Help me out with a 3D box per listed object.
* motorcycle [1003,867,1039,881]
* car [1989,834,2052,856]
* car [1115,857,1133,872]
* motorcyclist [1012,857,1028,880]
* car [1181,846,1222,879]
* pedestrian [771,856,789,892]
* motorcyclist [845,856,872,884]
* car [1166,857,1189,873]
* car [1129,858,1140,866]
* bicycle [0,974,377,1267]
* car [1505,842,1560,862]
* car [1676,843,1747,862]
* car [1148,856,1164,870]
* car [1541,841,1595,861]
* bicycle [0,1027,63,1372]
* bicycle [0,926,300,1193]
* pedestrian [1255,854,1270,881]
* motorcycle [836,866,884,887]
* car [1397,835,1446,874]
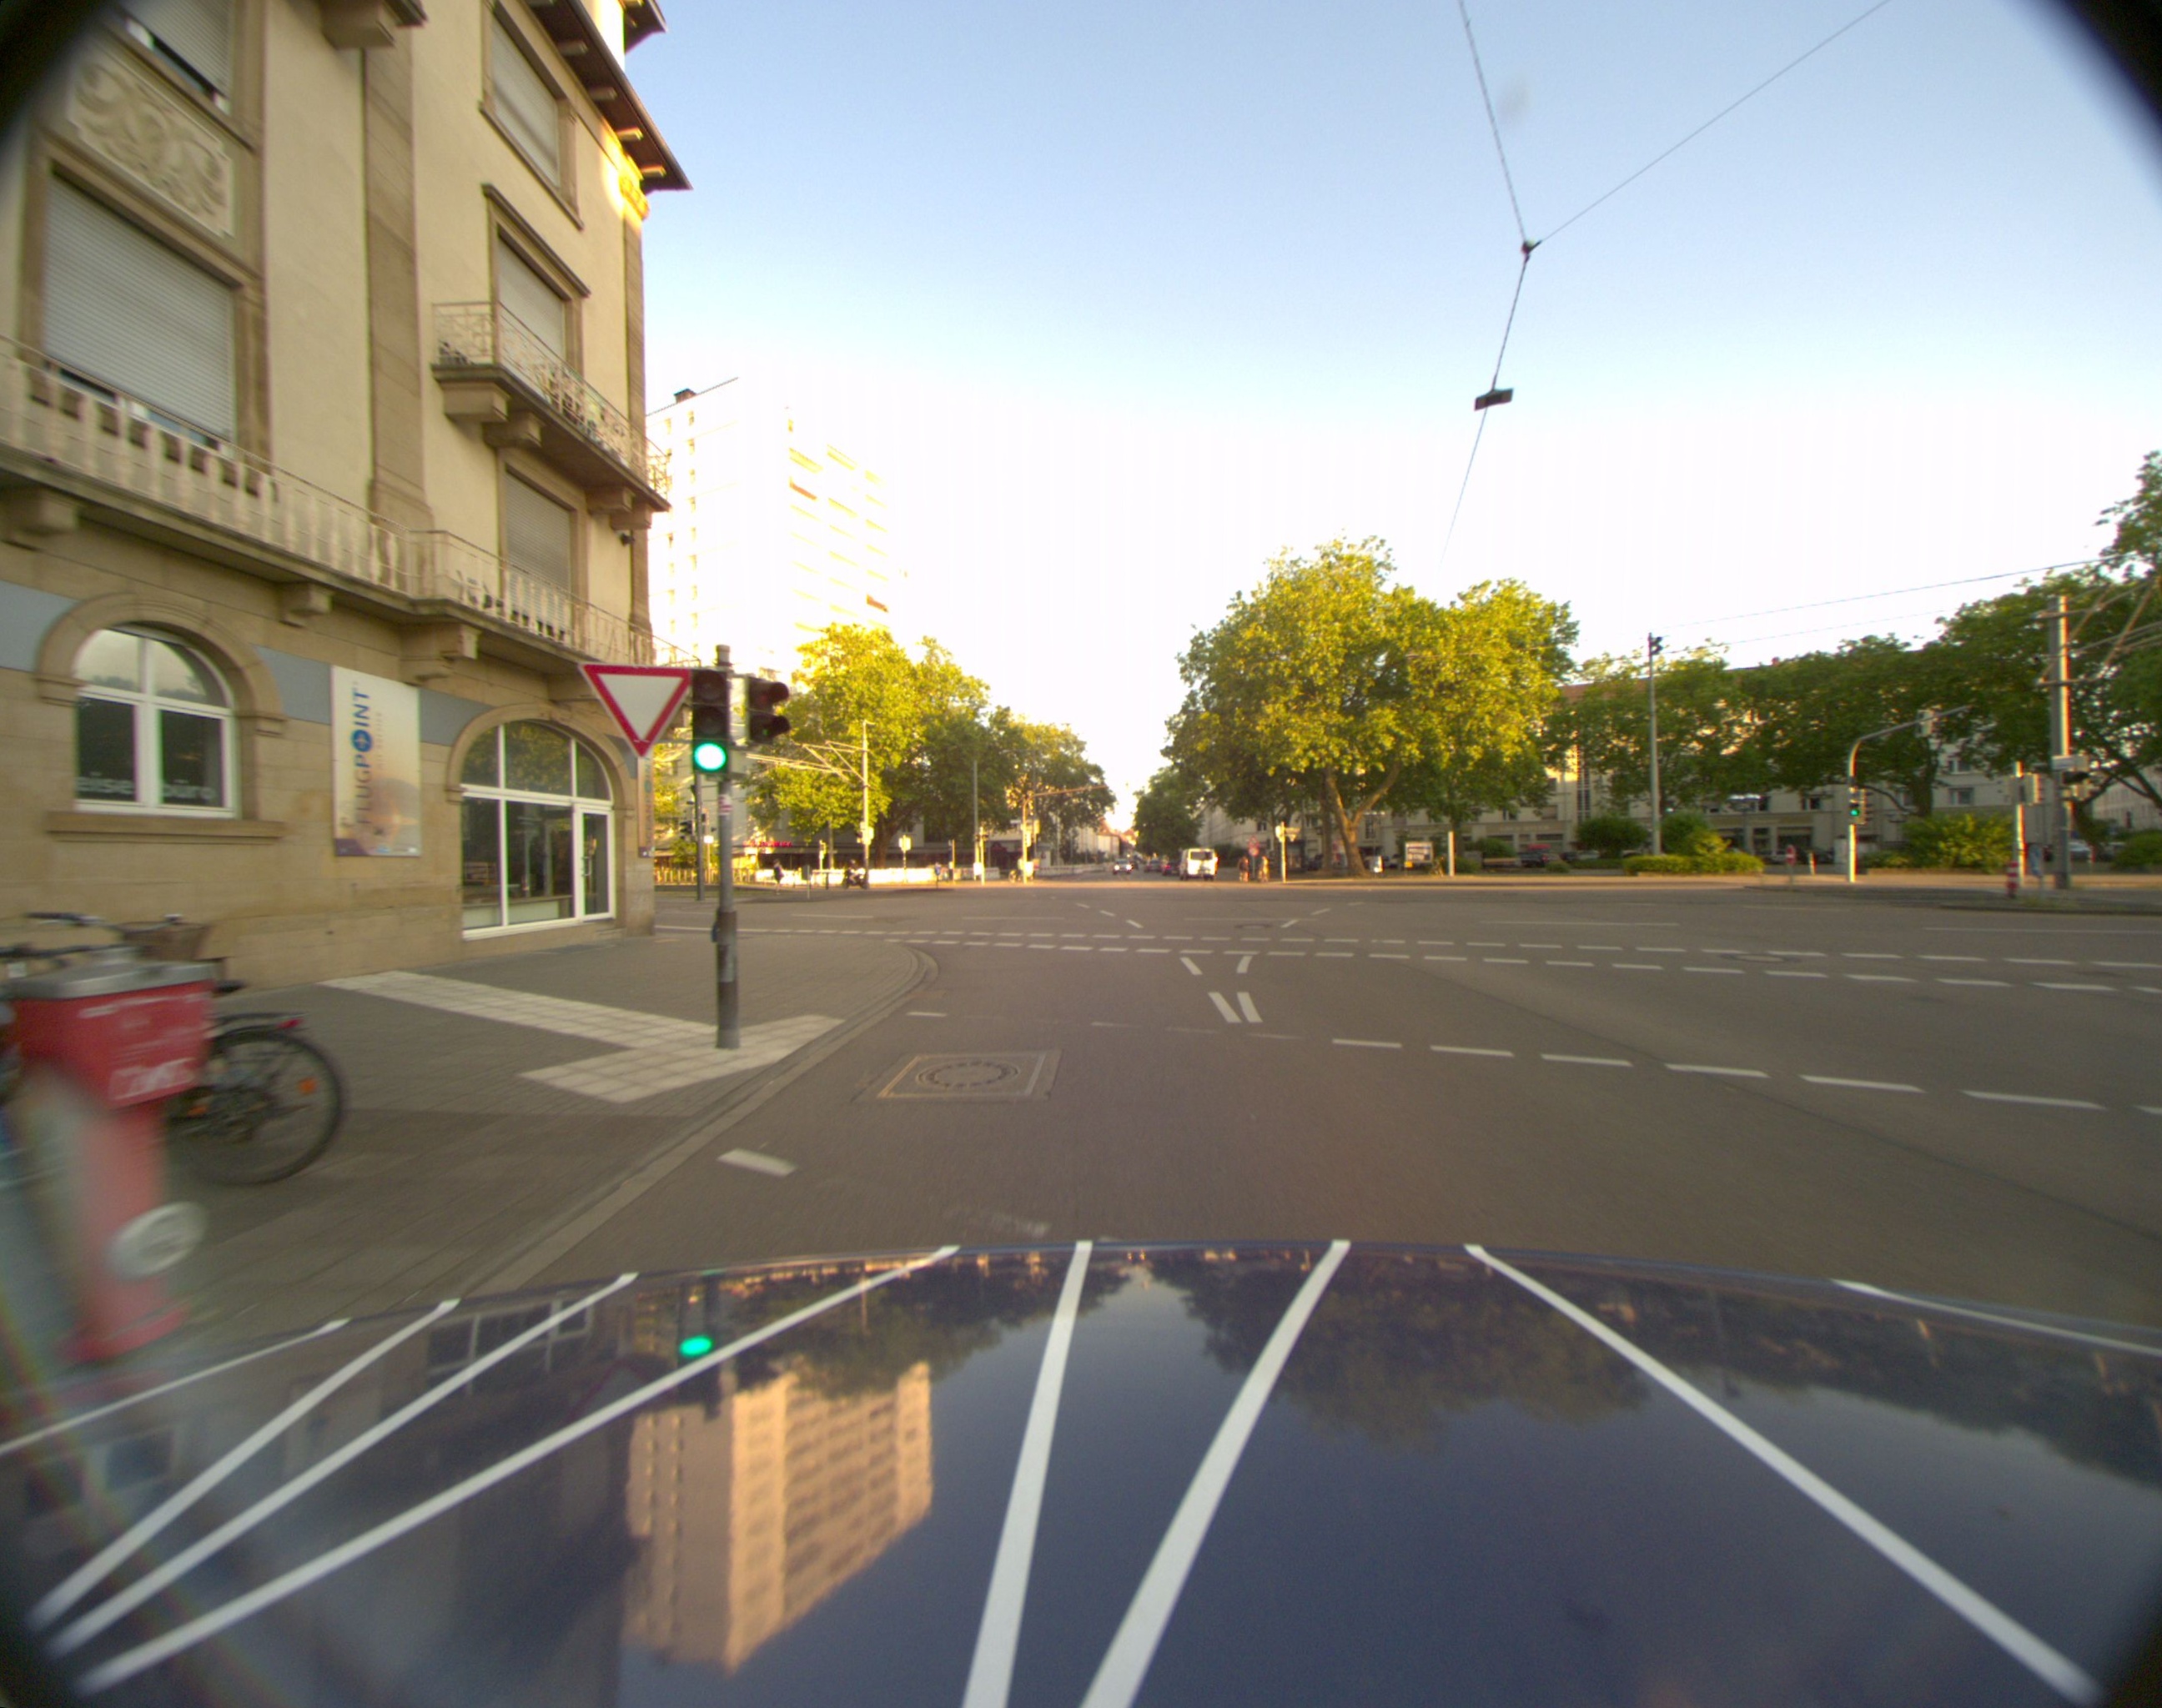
[{"bbox_3d":[-4.002,1.319,50.410,2.288,0.917,0.622,-1,0,-24],"label":"motorcycle"},{"bbox_3d":[70.511,-0.665,57.096,1.759,1.562,3.593,-1,0,29],"label":"car"},{"bbox_3d":[4.840,1.134,84.393,1.839,1.549,4.001,-1,0,5],"label":"car"},{"bbox_3d":[-4.054,0.943,50.401,0.830,1.510,0.622,-1,0,-24],"label":"motorcyclist"},{"bbox_3d":[7.535,0.523,47.951,1.991,1.945,4.597,-1,0,2],"label":"car"},{"bbox_3d":[-13.951,0.932,35.195,0.663,1.647,0.542,-1,0,-33],"label":"pedestrian"},{"bbox_3d":[-12.859,0.923,43.952,1.154,1.546,0.910,-1,0,29],"label":"motorcyclist"},{"bbox_3d":[9.232,1.028,72.947,1.998,1.450,4.002,-1,0,5],"label":"car"},{"bbox_3d":[9.521,1.425,134.646,1.839,1.419,4.001,-1,0,5],"label":"car"},{"bbox_3d":[-4.381,1.103,3.280,2.002,1.081,0.541,2,0,-7],"label":"bicycle"},{"bbox_3d":[39.833,-0.195,67.086,3.989,1.696,2.004,-1,0,35],"label":"car"},{"bbox_3d":[50.404,-0.093,60.810,3.991,1.410,1.812,-1,0,20],"label":"car"},{"bbox_3d":[8.814,1.027,89.135,1.794,1.571,4.001,-1,0,5],"label":"car"},{"bbox_3d":[43.872,-0.279,68.471,3.989,1.696,2.004,-1,0,35],"label":"car"},{"bbox_3d":[-4.451,1.101,2.198,2.002,1.081,0.541,2,0,-7],"label":"bicycle"},{"bbox_3d":[-5.446,1.022,4.002,2.000,1.194,0.646,1,0,1],"label":"bicycle"},{"bbox_3d":[10.797,0.802,45.213,0.745,1.619,0.660,-1,0,18],"label":"pedestrian"},{"bbox_3d":[-12.780,1.309,43.911,2.799,1.124,0.911,-1,0,29],"label":"motorcycle"},{"bbox_3d":[18.342,0.014,41.053,1.865,2.002,3.815,-1,0,16],"label":"car"}]
